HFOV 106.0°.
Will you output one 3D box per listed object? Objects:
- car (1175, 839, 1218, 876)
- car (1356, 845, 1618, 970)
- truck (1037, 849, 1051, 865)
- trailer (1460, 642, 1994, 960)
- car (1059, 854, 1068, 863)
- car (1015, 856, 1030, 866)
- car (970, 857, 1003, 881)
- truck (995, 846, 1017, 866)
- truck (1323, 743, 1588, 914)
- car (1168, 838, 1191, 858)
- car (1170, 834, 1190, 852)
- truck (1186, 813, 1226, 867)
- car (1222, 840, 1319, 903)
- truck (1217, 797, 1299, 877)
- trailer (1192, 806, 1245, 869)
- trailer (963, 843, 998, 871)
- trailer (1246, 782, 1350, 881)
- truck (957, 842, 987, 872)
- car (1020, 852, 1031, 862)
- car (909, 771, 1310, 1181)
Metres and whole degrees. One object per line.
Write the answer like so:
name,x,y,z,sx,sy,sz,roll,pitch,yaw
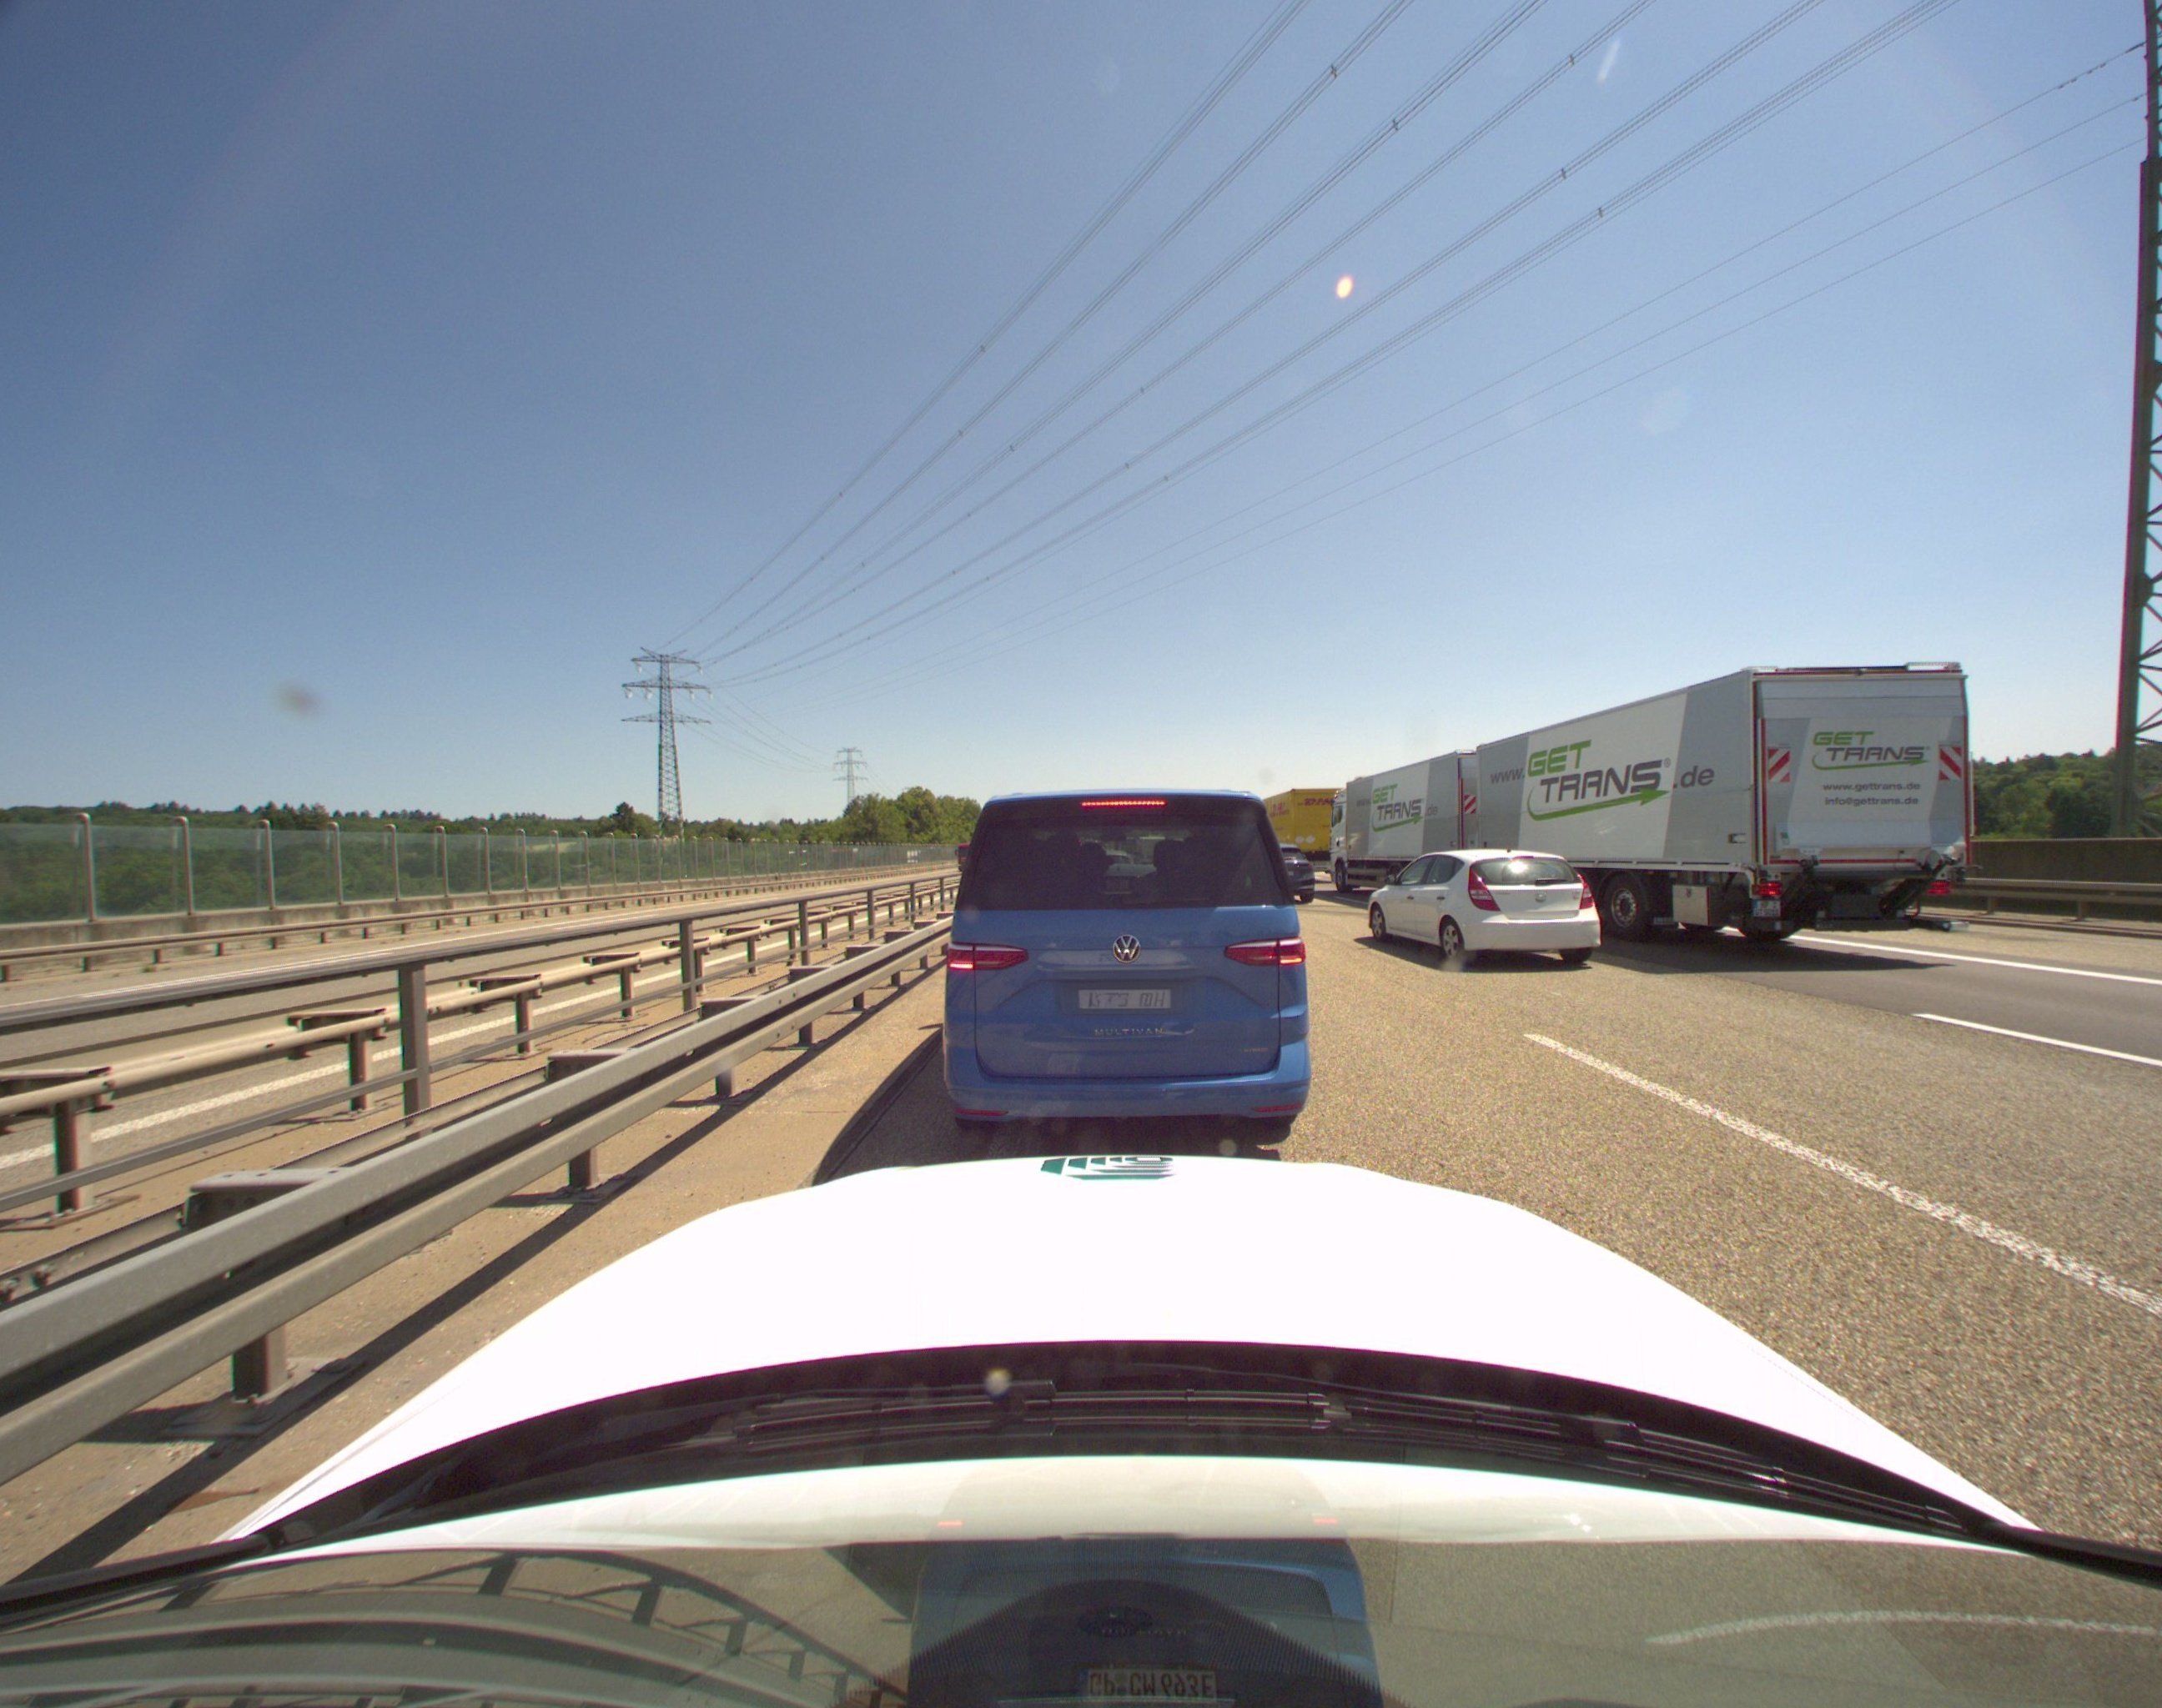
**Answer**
car,6.586,0.187,46.701,1.954,1.993,4.295,-1,0,2
car,5.587,0.635,11.901,1.782,1.455,4.295,-1,0,2
truck,-8.121,0.696,178.925,2.553,3.359,8.863,-3,0,0
trailer,9.518,-0.641,13.667,2.688,3.700,8.017,-1,0,1
car,-4.151,1.116,193.511,1.986,2.014,4.314,0,0,2
car,-8.780,1.025,122.432,1.856,1.444,4.132,-4,0,2
car,-6.436,0.983,55.849,1.613,1.464,3.703,-3,0,2
truck,-12.731,0.345,138.894,2.510,3.110,8.724,-5,0,1
truck,9.767,-0.571,23.193,2.647,3.648,11.013,-1,0,1
car,10.293,-0.649,85.360,1.986,2.014,4.002,0,0,2
car,12.013,-1.331,99.016,1.986,2.013,4.463,-2,0,2
truck,10.891,-1.170,71.582,2.657,4.484,6.852,0,0,2
car,5.463,0.469,24.003,1.954,1.644,4.295,-1,0,2
truck,10.437,-0.905,49.302,2.826,4.243,11.013,-1,0,1
trailer,10.643,-1.174,64.155,2.627,4.516,11.305,0,0,2
trailer,-13.035,0.356,106.413,2.472,3.344,12.077,-4,0,2
trailer,10.162,-0.935,39.284,2.854,4.239,9.015,0,0,2
truck,-13.225,0.358,99.280,2.488,3.365,5.836,-4,0,2
car,-12.797,0.714,188.018,2.074,2.149,4.314,-3,0,2
car,0.196,0.561,5.751,1.813,1.857,4.076,0,0,2
